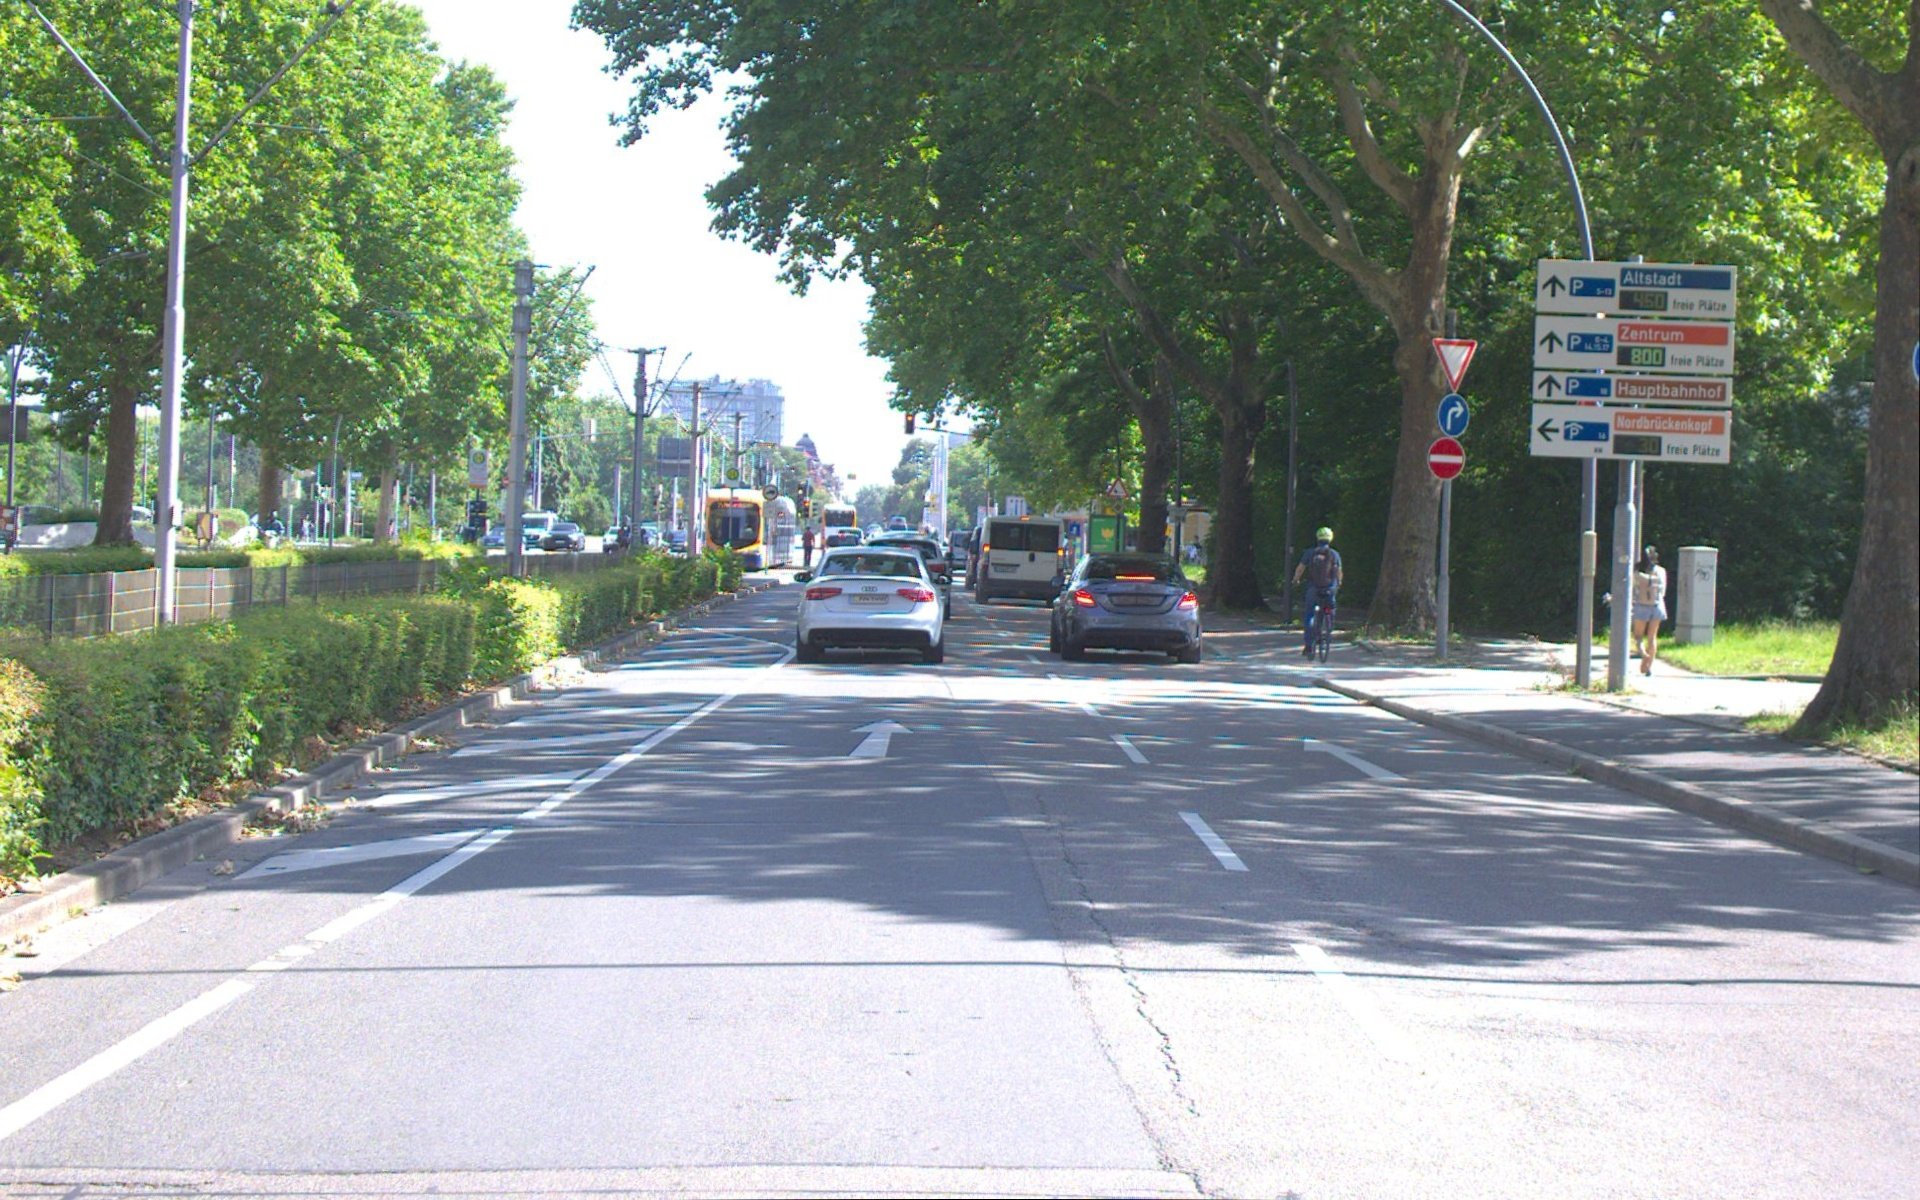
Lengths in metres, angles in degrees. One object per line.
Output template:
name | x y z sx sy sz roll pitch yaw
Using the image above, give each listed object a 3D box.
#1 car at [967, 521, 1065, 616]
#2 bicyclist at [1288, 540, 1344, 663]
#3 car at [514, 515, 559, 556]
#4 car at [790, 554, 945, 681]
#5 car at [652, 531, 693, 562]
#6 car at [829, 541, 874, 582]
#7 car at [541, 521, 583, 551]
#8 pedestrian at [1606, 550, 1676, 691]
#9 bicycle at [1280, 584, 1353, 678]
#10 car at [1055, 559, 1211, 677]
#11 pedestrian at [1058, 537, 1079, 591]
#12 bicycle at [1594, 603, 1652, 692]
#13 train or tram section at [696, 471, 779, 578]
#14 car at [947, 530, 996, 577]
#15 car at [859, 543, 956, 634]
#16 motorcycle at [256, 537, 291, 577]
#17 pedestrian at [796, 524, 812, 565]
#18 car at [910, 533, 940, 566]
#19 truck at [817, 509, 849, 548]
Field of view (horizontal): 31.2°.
car | 1.369 -0.793 85.736 2.230 2.204 4.162 3 1 -1
bicyclist | 4.859 0.010 46.932 0.634 1.642 0.979 0 2 -2
car | -25.403 -3.865 206.182 2.114 2.374 4.000 2 1 0
car | -1.121 0.183 42.858 1.784 1.416 3.885 3 1 -1
car | -16.855 -3.157 201.852 1.993 1.728 4.000 3 1 0
car | -4.594 -1.644 146.068 1.729 1.625 4.000 3 1 -1
car | -22.668 -3.660 196.044 1.830 1.618 4.897 2 1 -1
pedestrian | 8.815 0.257 44.546 0.632 1.779 0.874 3 1 -1
bicycle | 4.852 0.410 46.876 0.714 1.144 2.179 0 3 -2
car | 2.265 0.206 45.861 1.782 1.415 4.000 3 1 -1
pedestrian | 3.957 -1.325 125.215 0.635 1.939 0.719 3 1 0
bicycle | 8.567 0.605 44.456 0.349 1.078 1.699 3 1 -1
train or tram section | -8.795 -2.968 136.534 2.616 4.001 7.749 3 1 0
car | 0.498 -2.114 156.464 2.072 1.992 4.058 3 1 -1
car | -0.986 -0.244 65.413 1.729 1.599 3.885 3 1 -1
motorcycle | -20.676 -1.308 103.516 0.632 1.171 2.000 2 1 -1
pedestrian | -7.309 -2.598 160.907 0.624 1.911 0.690 3 1 0
car | -2.111 -3.073 209.978 1.729 1.895 4.000 3 1 -1
truck | -9.588 -5.361 259.618 1.993 2.780 8.519 3 1 0
